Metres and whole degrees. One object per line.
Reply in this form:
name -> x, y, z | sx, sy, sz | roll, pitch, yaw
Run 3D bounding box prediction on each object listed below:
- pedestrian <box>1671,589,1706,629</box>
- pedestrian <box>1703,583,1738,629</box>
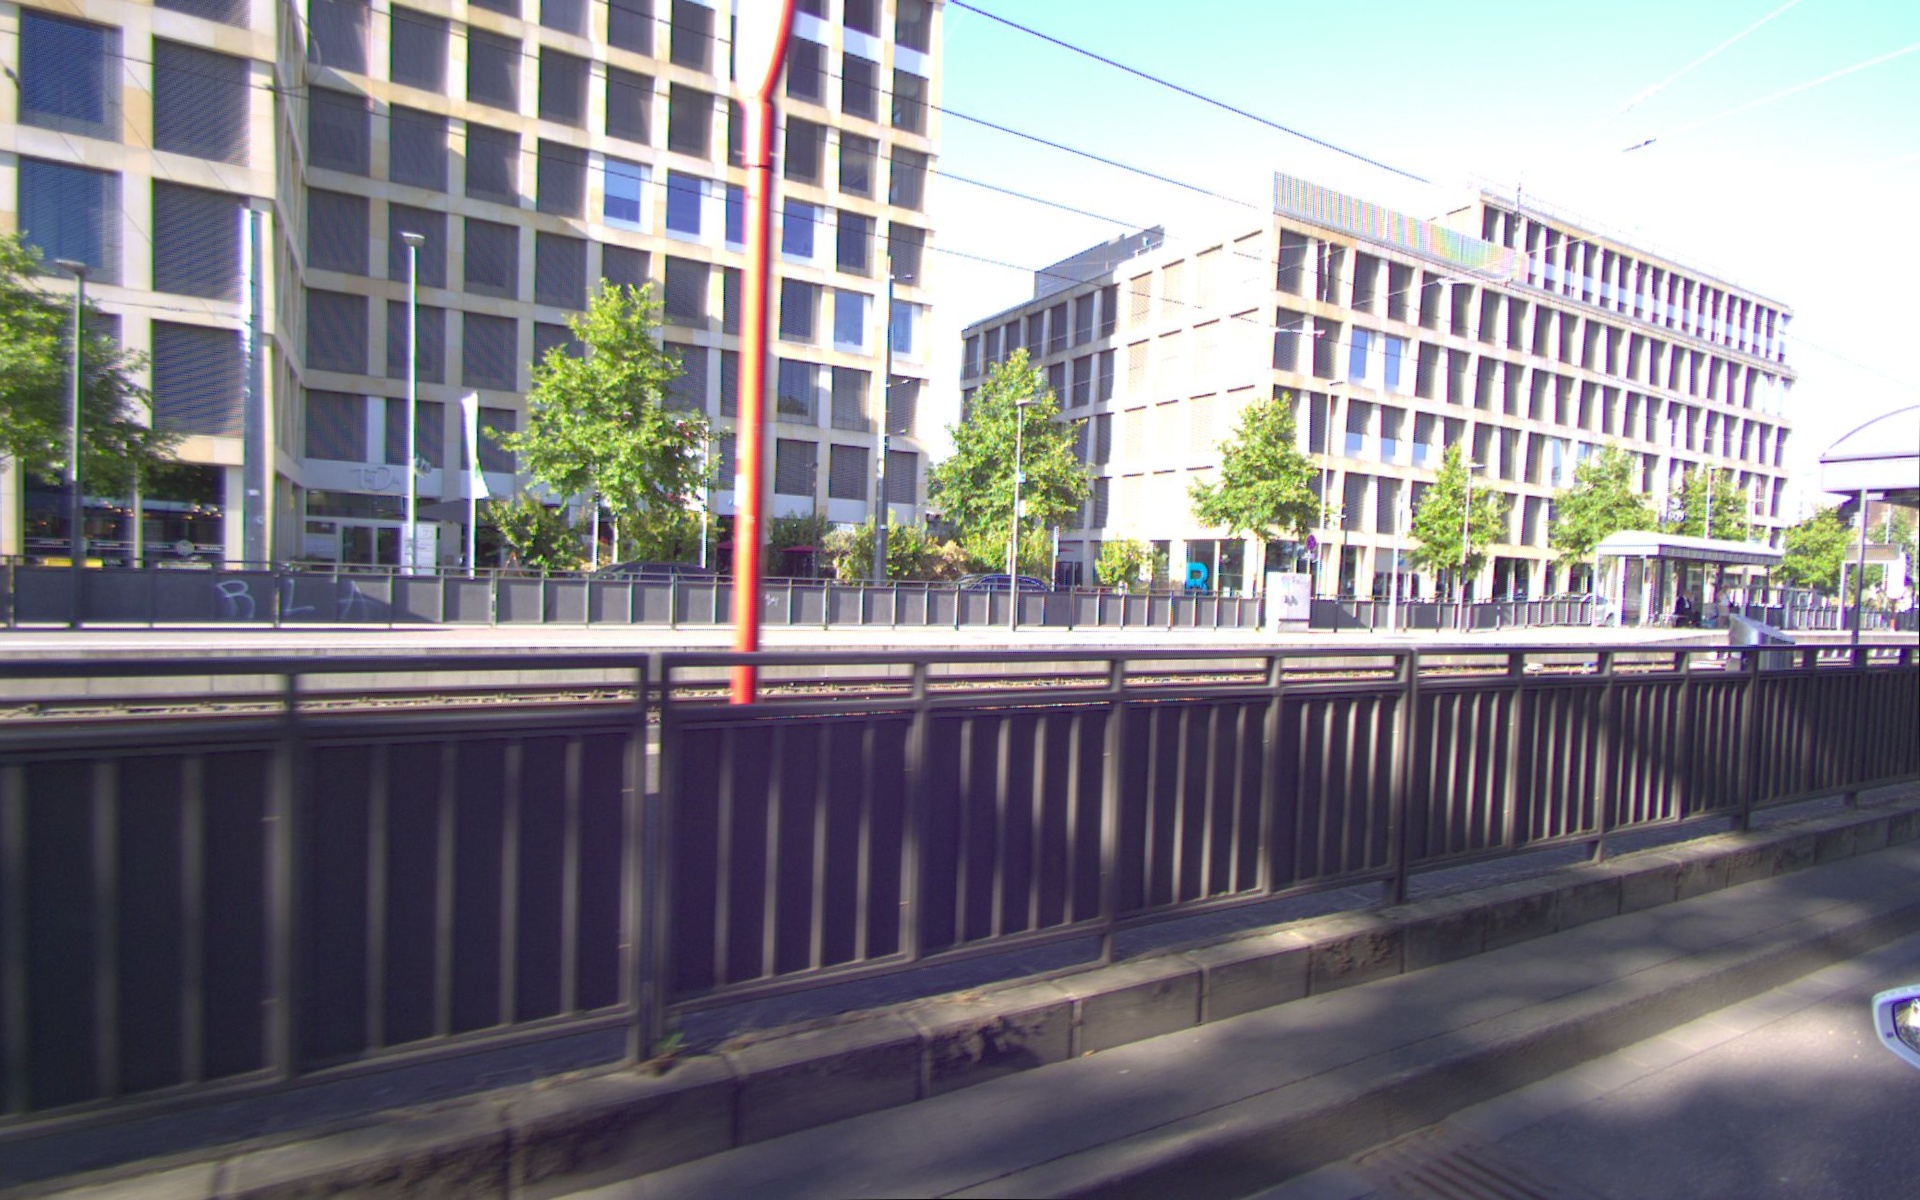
pedestrian -> 24.484, 0.306, 33.757 | 0.715, 1.277, 0.612 | 1, 2, -26
pedestrian -> 26.549, 0.210, 35.068 | 0.714, 1.548, 0.613 | 2, 2, -21
